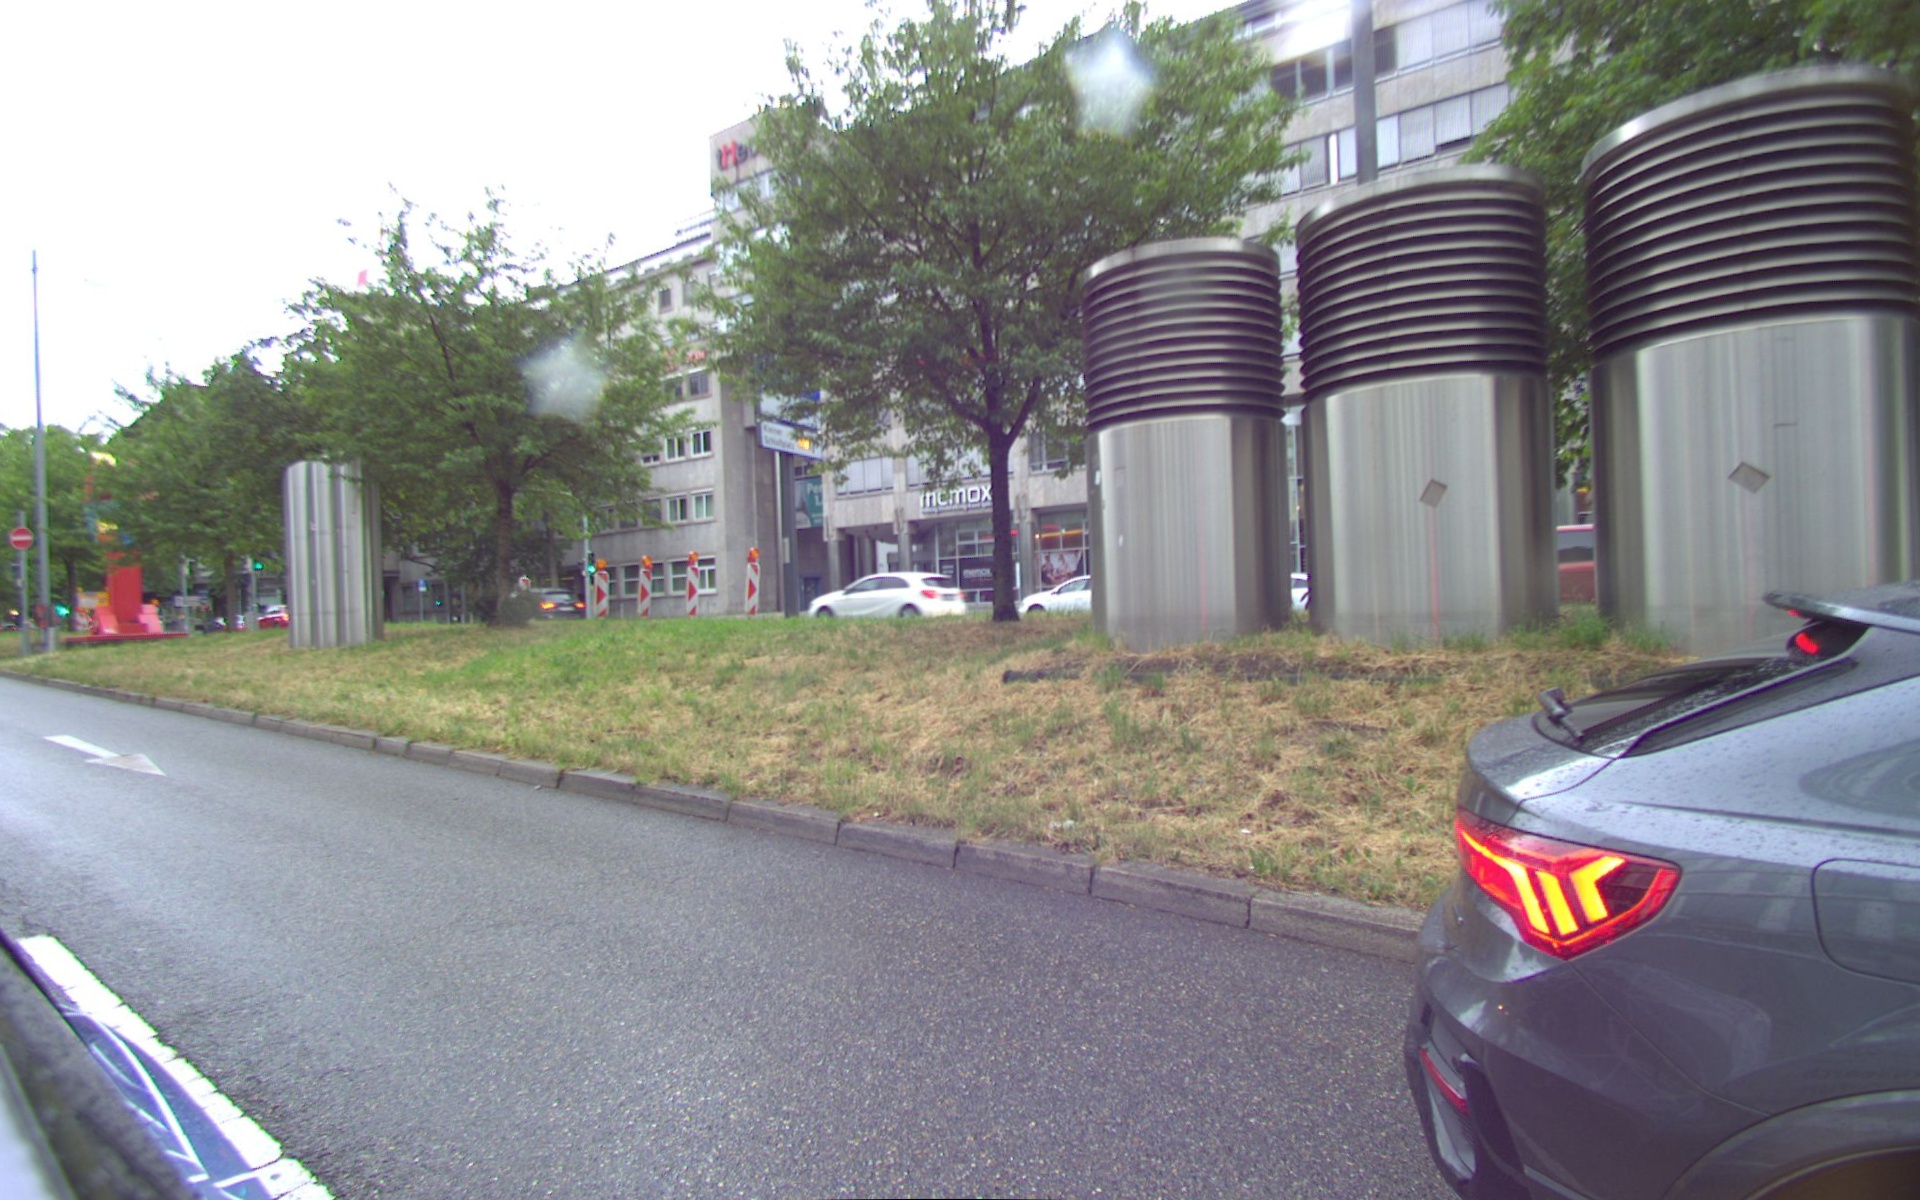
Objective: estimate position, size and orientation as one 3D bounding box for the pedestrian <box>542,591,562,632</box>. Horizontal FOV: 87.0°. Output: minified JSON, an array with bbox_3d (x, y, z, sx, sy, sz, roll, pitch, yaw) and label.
[{"bbox_3d":[-18.139,0.525,45.012,0.721,1.801,0.522,-2,0,42],"label":"pedestrian"}]

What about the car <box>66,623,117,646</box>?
[{"bbox_3d":[-57.353,2.300,66.831,4.127,1.440,1.843,-2,-1,39],"label":"car"}]

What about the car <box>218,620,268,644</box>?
[{"bbox_3d":[-47.002,2.101,66.329,3.687,1.514,1.670,-2,-1,38],"label":"car"}]

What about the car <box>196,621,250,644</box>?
[{"bbox_3d":[-50.478,2.220,69.268,4.568,1.498,1.769,-2,-1,38],"label":"car"}]

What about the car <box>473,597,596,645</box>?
[{"bbox_3d":[-14.325,0.700,34.016,3.987,1.486,1.853,-2,0,33],"label":"car"}]

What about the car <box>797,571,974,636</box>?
[{"bbox_3d":[-1.897,0.109,25.340,4.180,1.486,1.805,-2,0,33],"label":"car"}]

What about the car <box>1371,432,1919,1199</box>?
[{"bbox_3d":[2.881,0.547,0.979,4.245,1.628,1.831,-2,0,37],"label":"car"}]

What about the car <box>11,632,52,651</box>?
[{"bbox_3d":[-75.592,3.399,82.361,4.561,1.440,1.843,-2,-1,40],"label":"car"}]

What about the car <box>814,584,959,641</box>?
[{"bbox_3d":[-2.507,0.447,33.659,4.785,1.739,1.844,-2,-1,38],"label":"car"}]

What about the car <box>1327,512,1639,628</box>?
[{"bbox_3d":[8.932,-0.440,17.516,4.568,1.740,1.711,-2,0,33],"label":"car"}]

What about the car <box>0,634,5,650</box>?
[{"bbox_3d":[-91.264,3.964,95.122,3.996,1.425,1.771,-2,-2,40],"label":"car"}]

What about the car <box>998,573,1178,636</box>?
[{"bbox_3d":[3.604,0.163,29.145,4.905,1.634,1.759,-2,-1,38],"label":"car"}]

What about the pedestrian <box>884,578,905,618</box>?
[{"bbox_3d":[-3.054,-0.088,47.186,0.528,1.801,0.712,-2,0,38],"label":"pedestrian"}]

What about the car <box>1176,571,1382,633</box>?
[{"bbox_3d":[8.056,0.088,25.795,4.677,1.412,1.759,-2,-1,38],"label":"car"}]

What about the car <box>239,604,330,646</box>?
[{"bbox_3d":[-30.205,1.123,45.257,3.987,1.713,1.930,-2,0,33],"label":"car"}]
